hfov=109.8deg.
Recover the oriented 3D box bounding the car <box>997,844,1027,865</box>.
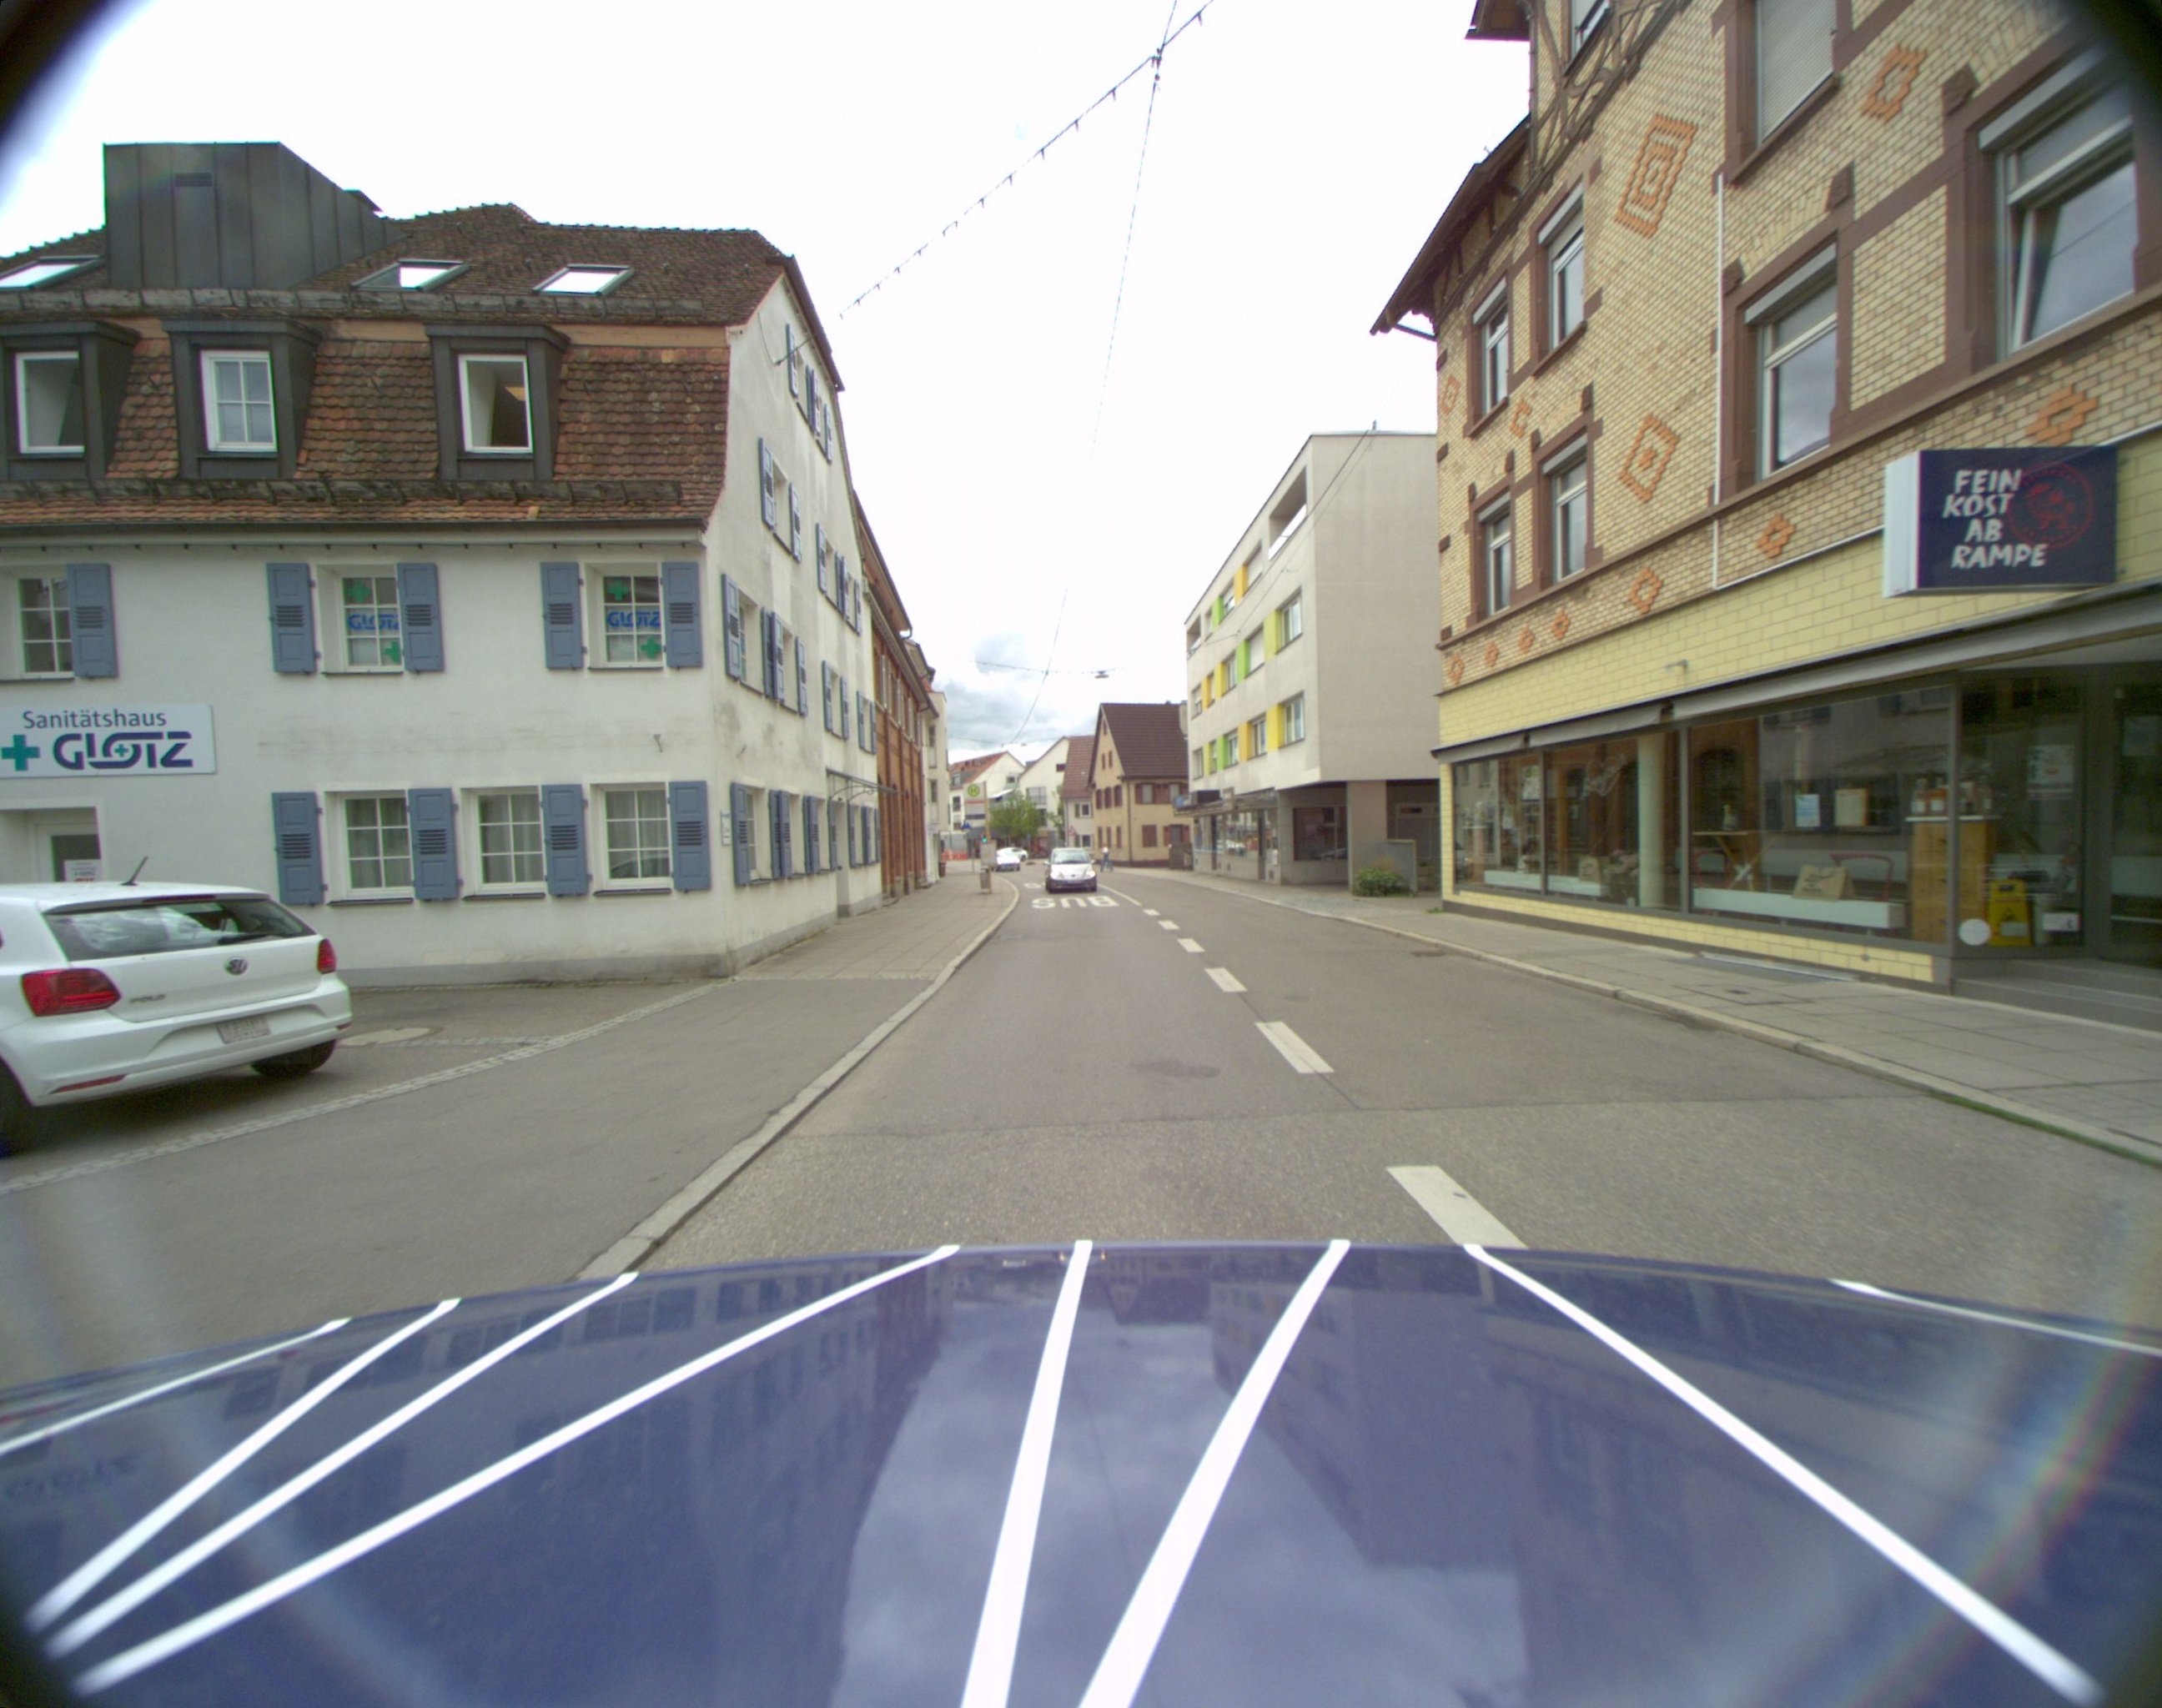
[{"bbox_3d":[-4.994,0.016,54.372,1.756,1.347,3.996,-2,1,-10],"label":"car"}]

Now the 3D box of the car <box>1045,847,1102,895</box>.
[{"bbox_3d":[-0.350,0.570,27.993,1.895,1.618,3.998,-1,1,-3],"label":"car"}]

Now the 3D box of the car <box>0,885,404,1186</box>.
[{"bbox_3d":[-7.087,0.999,4.886,3.800,1.410,1.898,-1,1,4],"label":"car"}]

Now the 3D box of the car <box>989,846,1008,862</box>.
[{"bbox_3d":[-9.244,-0.032,85.381,2.001,1.618,3.996,-3,2,-6],"label":"car"}]
